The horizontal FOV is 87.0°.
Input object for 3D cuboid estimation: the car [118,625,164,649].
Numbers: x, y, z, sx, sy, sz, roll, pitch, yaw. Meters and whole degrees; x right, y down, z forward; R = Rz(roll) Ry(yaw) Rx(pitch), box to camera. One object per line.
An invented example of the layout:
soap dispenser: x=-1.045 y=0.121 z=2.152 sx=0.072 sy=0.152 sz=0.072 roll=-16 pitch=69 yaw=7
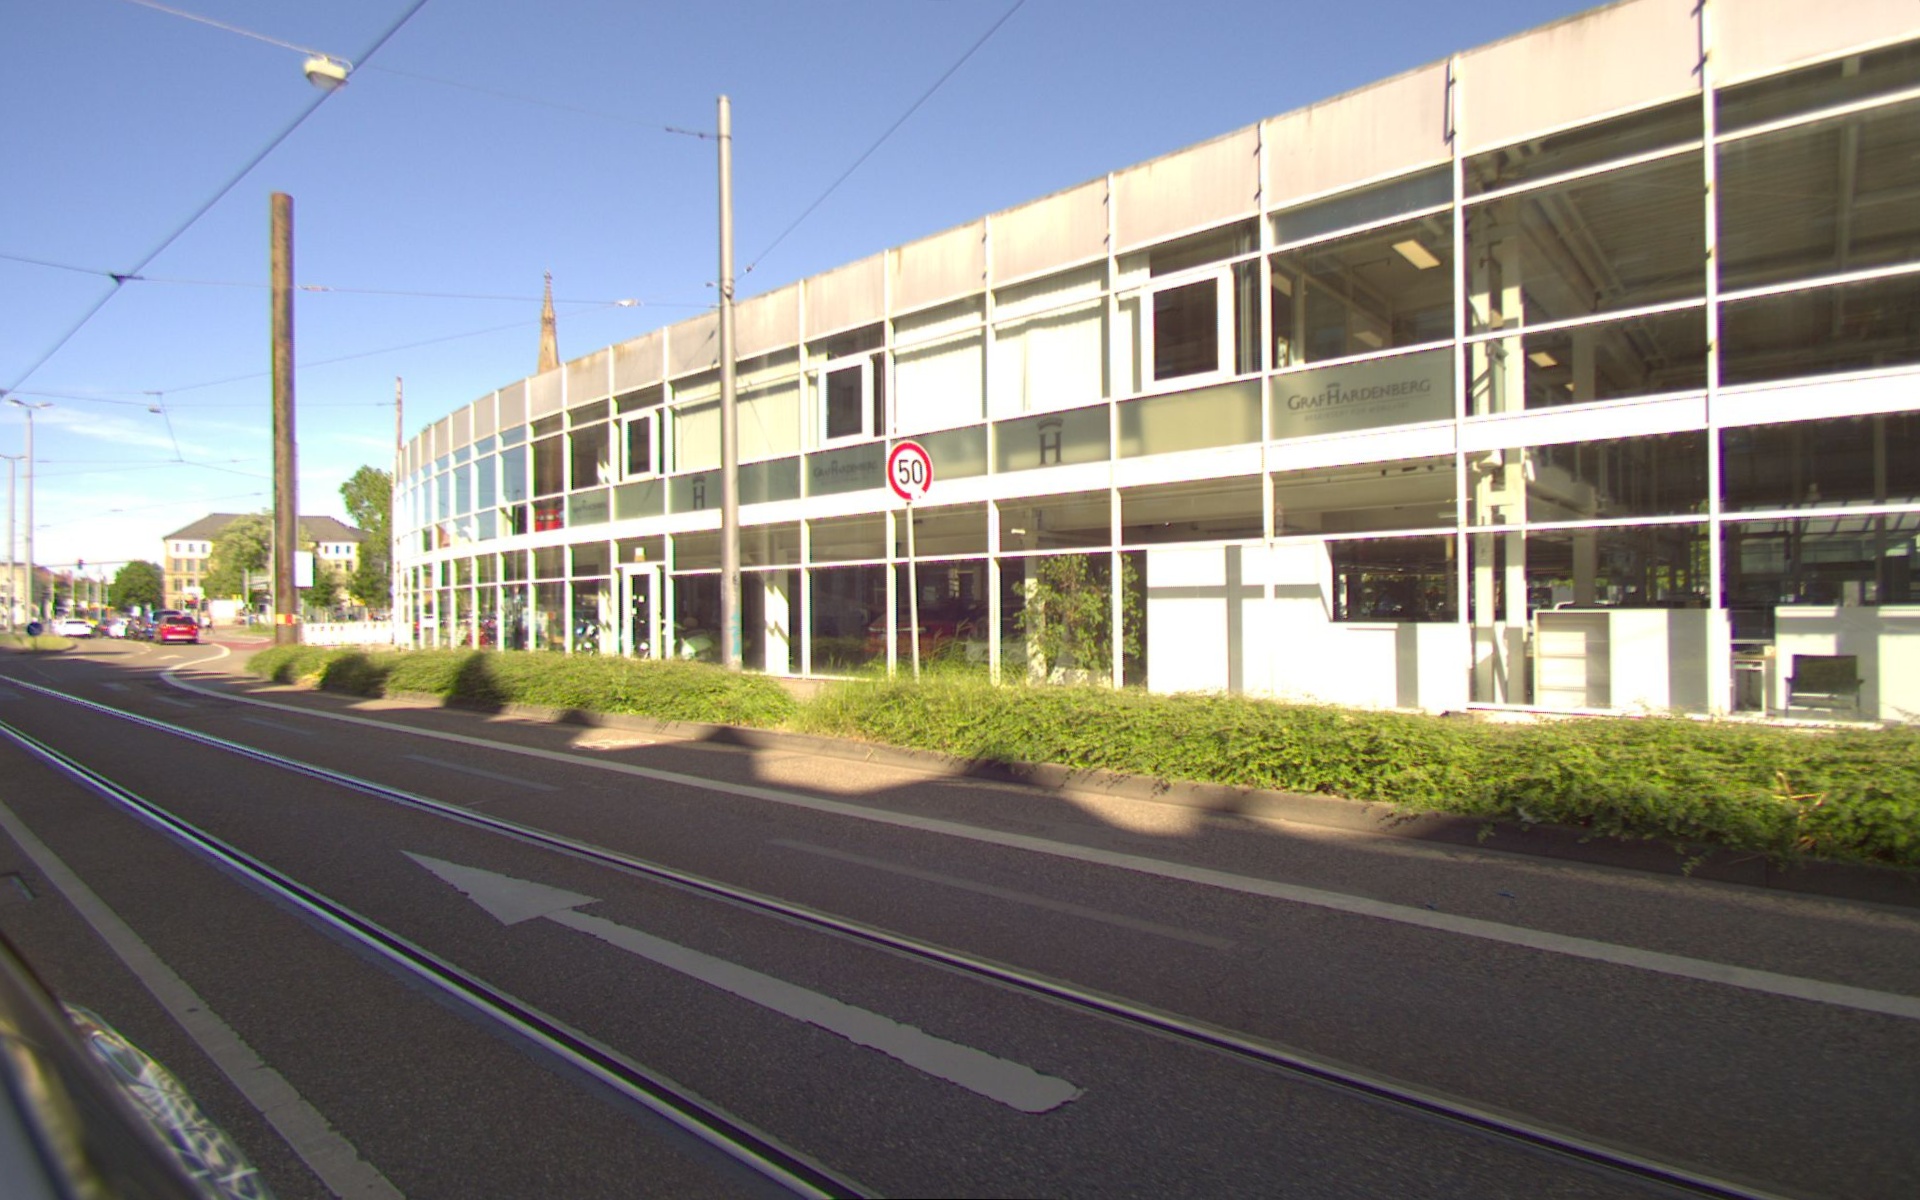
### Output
car: x=-55.496 y=2.487 z=68.571 sx=4.164 sy=1.590 sz=1.783 roll=-1 pitch=-1 yaw=42

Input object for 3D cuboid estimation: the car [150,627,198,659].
car: x=-45.518 y=2.451 z=58.592 sx=1.778 sy=1.732 sz=4.421 roll=1 pitch=-1 yaw=-43

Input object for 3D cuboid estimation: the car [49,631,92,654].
car: x=-62.931 y=2.974 z=71.595 sx=4.540 sy=1.443 sz=1.784 roll=-1 pitch=1 yaw=42

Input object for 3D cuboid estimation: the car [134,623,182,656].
car: x=-50.561 y=2.469 z=63.757 sx=4.166 sy=1.948 sz=1.783 roll=-1 pitch=-1 yaw=44

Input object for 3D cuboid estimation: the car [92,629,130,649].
car: x=-64.423 y=2.945 z=76.772 sx=3.970 sy=1.490 sz=1.632 roll=-1 pitch=-2 yaw=42

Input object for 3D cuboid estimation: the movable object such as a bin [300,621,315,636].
movable object such as a bin: x=-71.272 y=3.116 z=110.560 sx=0.926 sy=1.646 sz=0.989 roll=-1 pitch=1 yaw=8

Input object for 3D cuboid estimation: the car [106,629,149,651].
car: x=-60.270 y=2.881 z=73.260 sx=3.999 sy=1.443 sz=1.784 roll=-1 pitch=1 yaw=42

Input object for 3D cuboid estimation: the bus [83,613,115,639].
bus: x=-124.205 y=3.682 z=146.018 sx=2.804 sy=3.144 sz=11.846 roll=-2 pitch=2 yaw=-37
